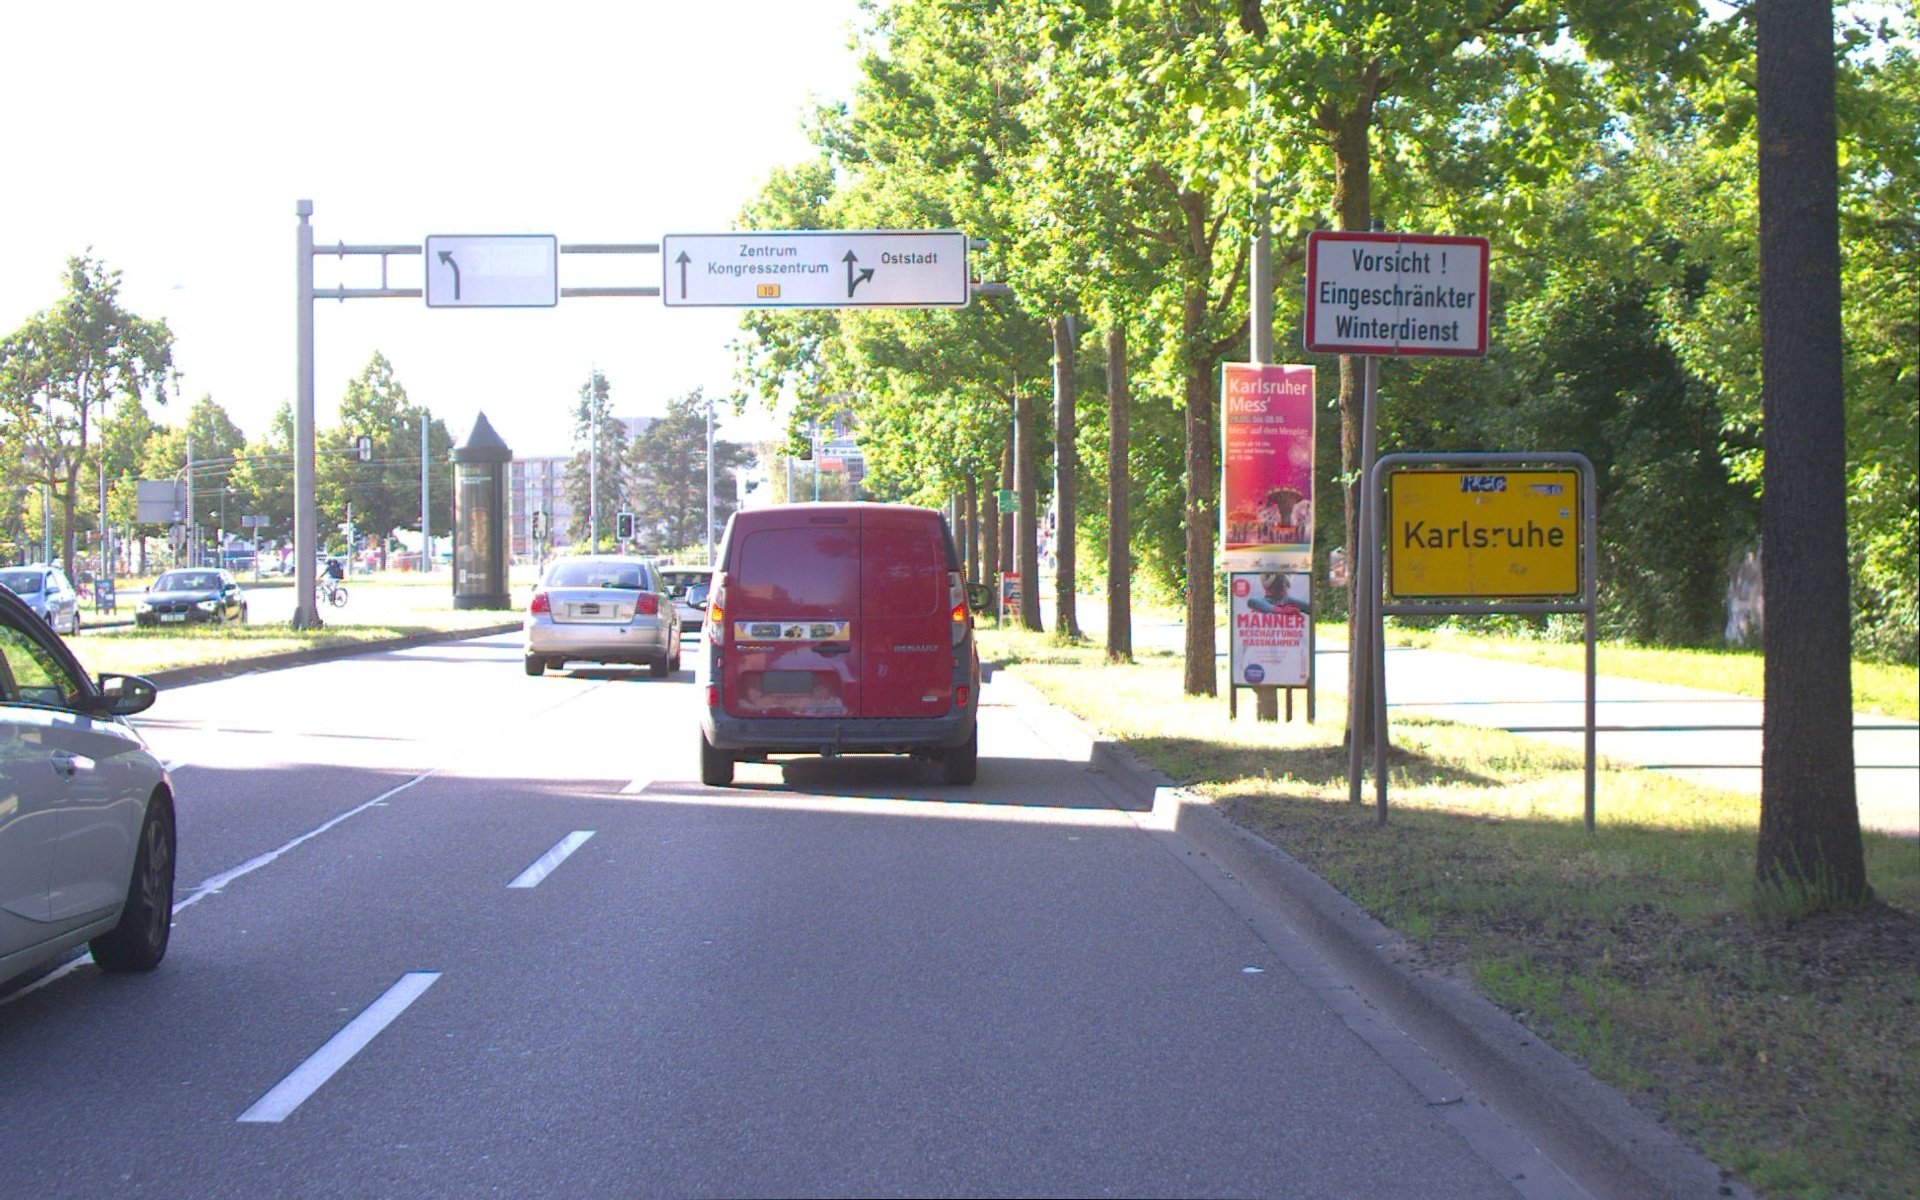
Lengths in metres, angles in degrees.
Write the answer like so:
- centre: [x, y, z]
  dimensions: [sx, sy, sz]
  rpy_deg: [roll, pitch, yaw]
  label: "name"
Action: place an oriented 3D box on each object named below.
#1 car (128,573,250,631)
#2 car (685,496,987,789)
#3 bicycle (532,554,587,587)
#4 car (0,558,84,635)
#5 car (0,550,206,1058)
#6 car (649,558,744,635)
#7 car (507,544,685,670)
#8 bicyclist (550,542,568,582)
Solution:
- centre: [-15.976, 0.023, 71.392]
  dimensions: [1.827, 1.107, 4.175]
  rpy_deg: [-1, 1, -4]
  label: "car"
- centre: [-0.826, 0.226, 22.893]
  dimensions: [1.806, 1.753, 4.006]
  rpy_deg: [1, 1, -2]
  label: "car"
- centre: [-14.522, -1.068, 124.595]
  dimensions: [1.958, 1.162, 0.517]
  rpy_deg: [0, 1, -3]
  label: "bicycle"
- centre: [-18.760, -0.087, 68.738]
  dimensions: [1.688, 1.471, 4.050]
  rpy_deg: [-1, 1, -4]
  label: "car"
- centre: [-3.621, 0.562, 10.647]
  dimensions: [1.778, 1.404, 4.075]
  rpy_deg: [0, 1, -2]
  label: "car"
- centre: [-4.976, -0.085, 65.273]
  dimensions: [1.661, 1.393, 3.559]
  rpy_deg: [0, 1, -2]
  label: "car"
- centre: [-4.465, 0.053, 42.655]
  dimensions: [1.841, 1.451, 4.163]
  rpy_deg: [1, 1, -1]
  label: "car"
- centre: [-14.538, -1.385, 124.590]
  dimensions: [0.603, 1.463, 0.517]
  rpy_deg: [0, 1, -3]
  label: "bicyclist"
